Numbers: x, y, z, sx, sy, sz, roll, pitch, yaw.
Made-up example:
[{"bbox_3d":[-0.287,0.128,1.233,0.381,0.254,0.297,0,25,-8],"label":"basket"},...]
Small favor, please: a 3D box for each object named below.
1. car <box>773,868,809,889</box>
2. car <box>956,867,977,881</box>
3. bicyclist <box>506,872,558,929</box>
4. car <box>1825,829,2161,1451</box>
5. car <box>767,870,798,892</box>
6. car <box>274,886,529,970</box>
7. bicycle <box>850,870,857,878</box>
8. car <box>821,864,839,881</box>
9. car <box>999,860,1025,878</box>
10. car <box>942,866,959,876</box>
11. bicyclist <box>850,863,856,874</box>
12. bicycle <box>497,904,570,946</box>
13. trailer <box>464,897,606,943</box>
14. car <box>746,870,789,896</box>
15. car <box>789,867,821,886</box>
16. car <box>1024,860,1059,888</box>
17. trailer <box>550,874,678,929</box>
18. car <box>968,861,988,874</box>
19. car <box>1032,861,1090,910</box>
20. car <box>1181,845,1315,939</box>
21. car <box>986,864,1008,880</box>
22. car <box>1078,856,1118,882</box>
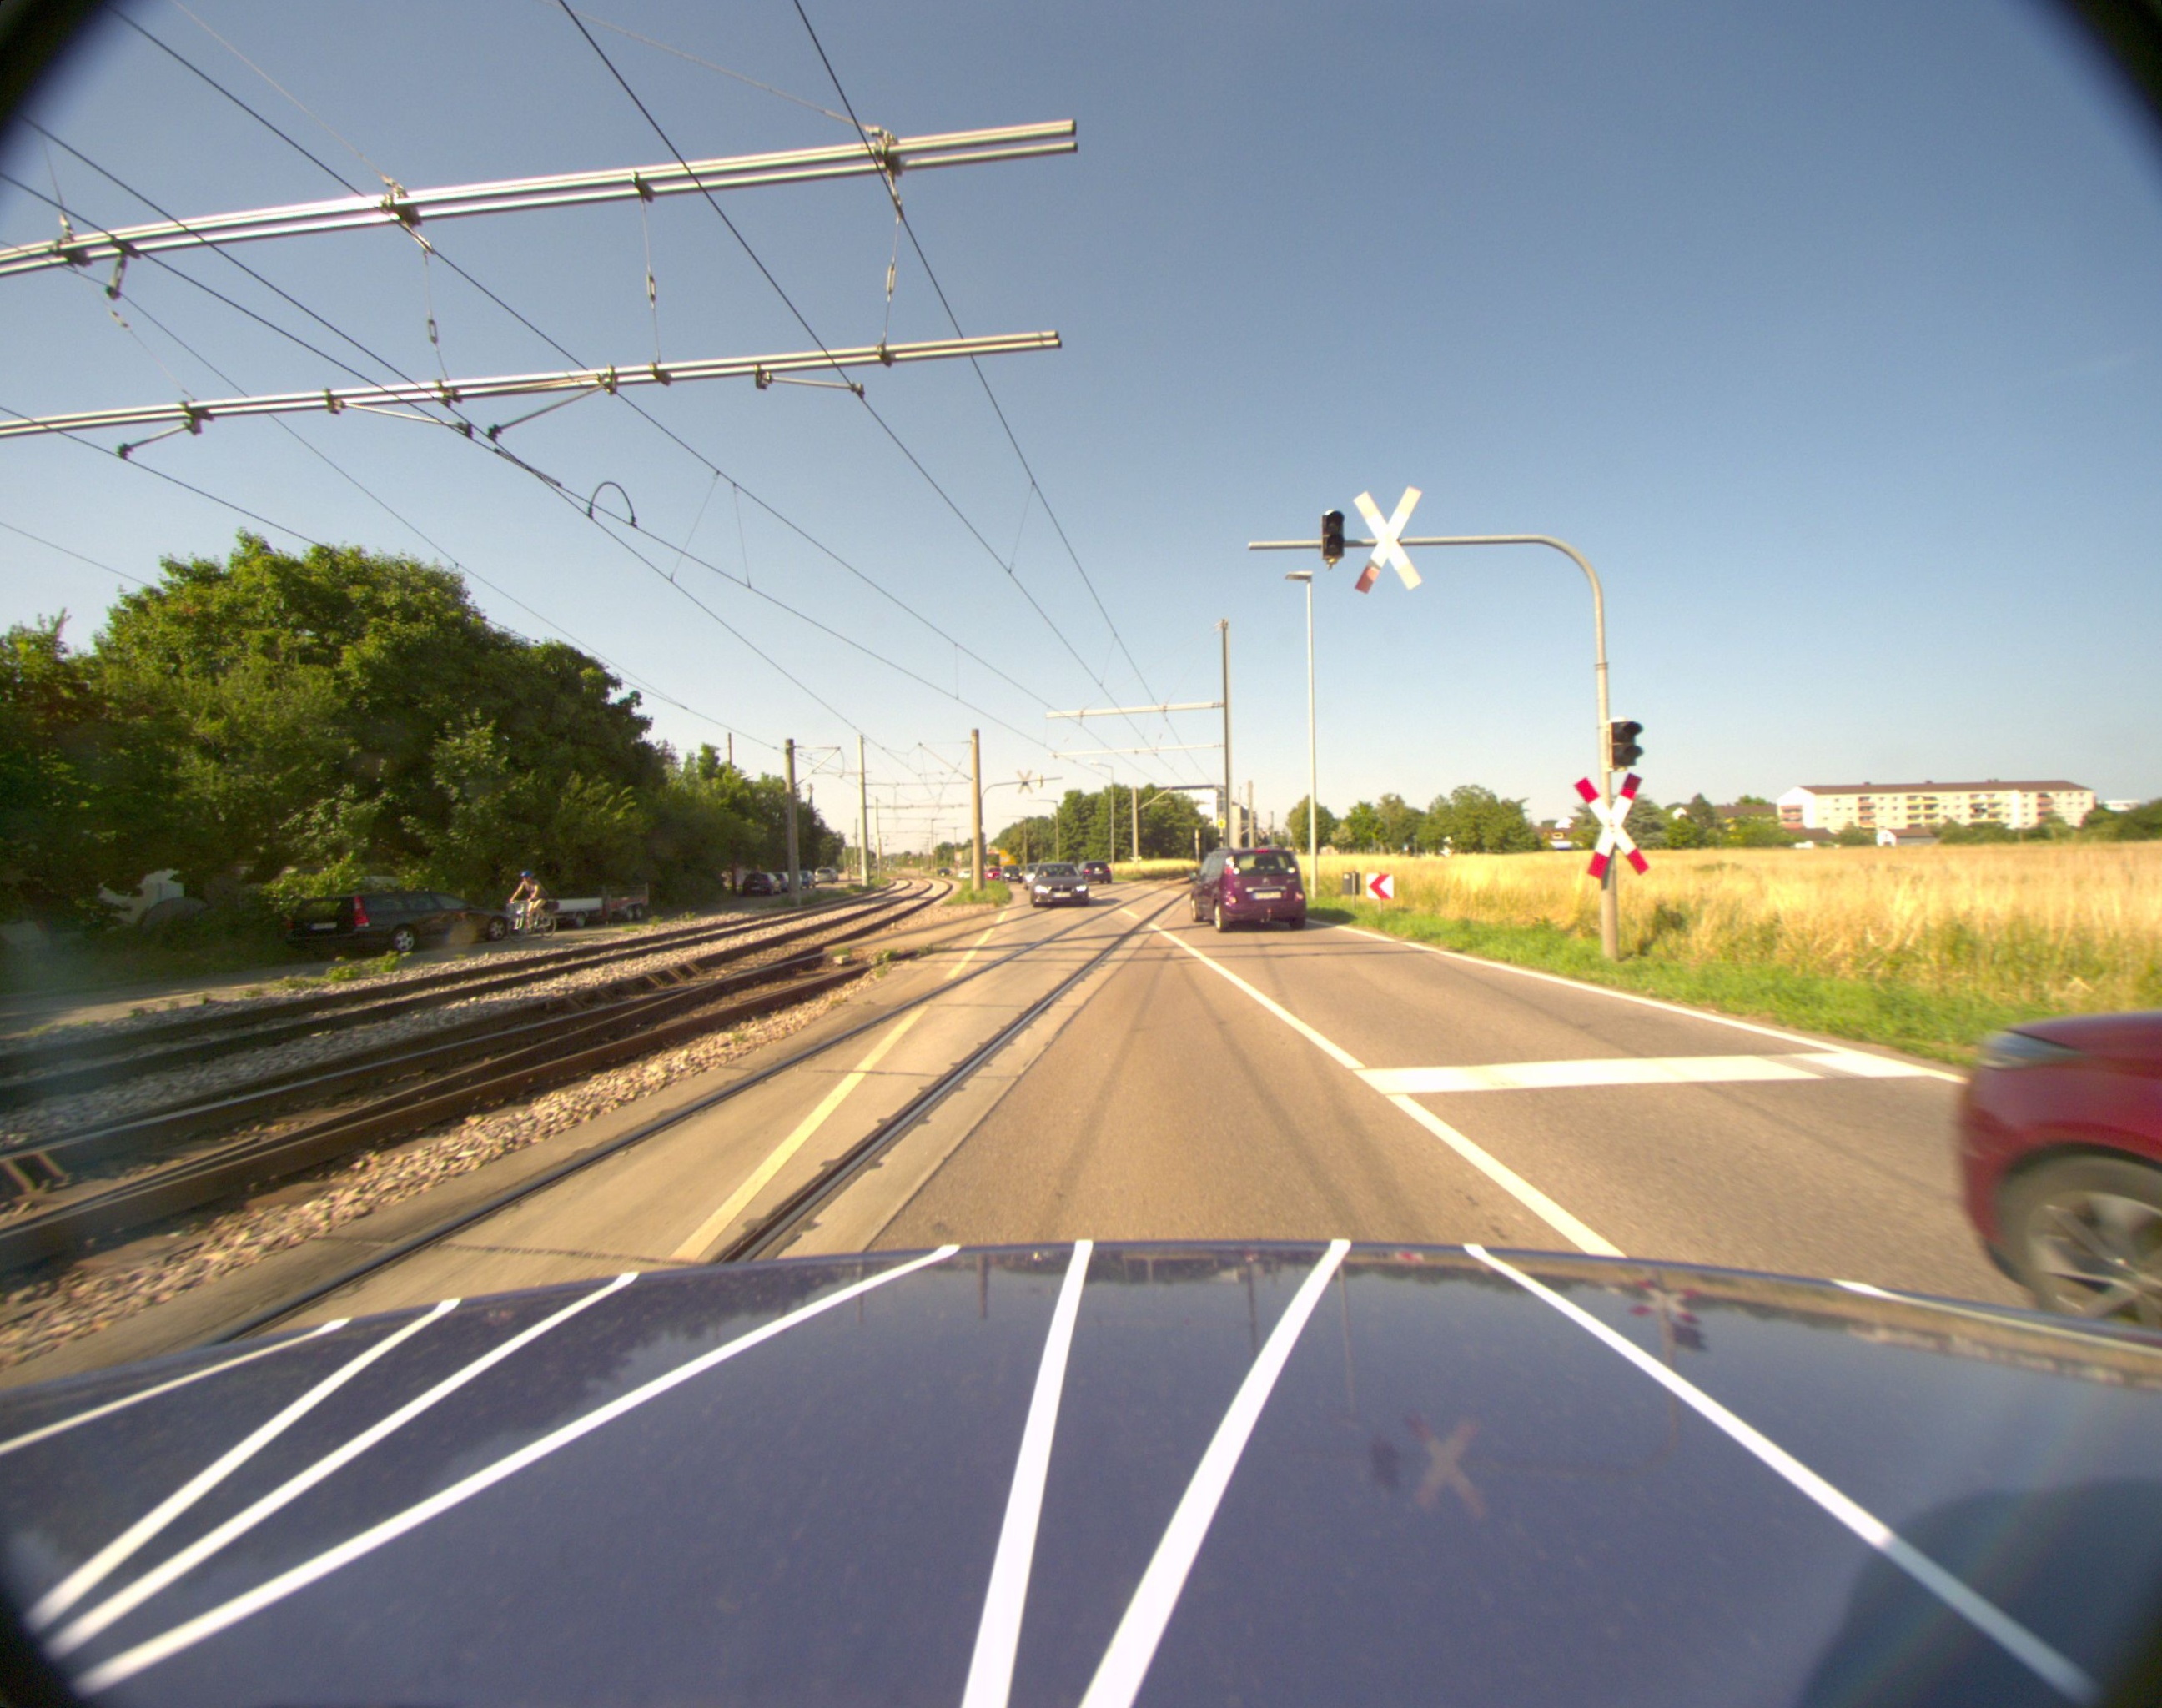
[{"bbox_3d":[-21.997,1.844,57.788,1.715,1.456,4.387,-1,-1,-9],"label":"car"},{"bbox_3d":[-15.292,2.656,101.391,1.971,1.609,4.301,-2,0,-19],"label":"car"},{"bbox_3d":[-14.318,1.201,19.825,0.631,1.414,0.962,-2,0,-4],"label":"bicyclist"},{"bbox_3d":[3.538,0.697,0.756,1.717,1.540,3.928,-2,0,0],"label":"car"},{"bbox_3d":[-20.782,1.869,52.990,1.490,1.393,4.145,-2,0,-14],"label":"car"},{"bbox_3d":[-16.045,1.657,18.398,1.703,1.448,4.880,-4,0,-1],"label":"car"},{"bbox_3d":[-25.354,2.245,84.589,0.645,0.904,1.811,-3,0,-16],"label":"bicycle"},{"bbox_3d":[-24.924,1.830,75.510,1.528,1.600,4.478,-1,-1,-16],"label":"car"},{"bbox_3d":[-5.848,1.269,64.131,1.849,1.347,4.151,-3,0,-9],"label":"car"},{"bbox_3d":[-20.272,2.630,118.139,1.839,1.504,4.147,-3,0,-19],"label":"car"},{"bbox_3d":[-25.362,1.623,84.541,0.641,1.226,0.790,-3,0,-16],"label":"bicyclist"},{"bbox_3d":[-14.296,1.829,19.906,0.644,0.904,1.843,-2,0,-4],"label":"bicycle"},{"bbox_3d":[-16.541,1.970,23.272,1.736,0.934,3.727,-5,0,-3],"label":"trailer"},{"bbox_3d":[-19.825,1.807,48.176,1.628,1.402,4.517,-3,0,-11],"label":"car"},{"bbox_3d":[-23.082,1.893,63.673,1.683,1.421,3.909,-3,0,-8],"label":"car"},{"bbox_3d":[-2.300,1.138,43.574,1.711,1.444,4.588,-3,-1,-6],"label":"car"},{"bbox_3d":[-16.614,1.626,27.316,2.032,1.587,4.258,-4,0,-4],"label":"trailer"},{"bbox_3d":[-12.541,1.618,92.603,1.609,1.504,4.262,-3,0,-17],"label":"car"},{"bbox_3d":[-0.608,0.983,25.333,1.747,1.444,3.947,-2,0,0],"label":"car"},{"bbox_3d":[3.377,0.713,16.258,1.711,1.655,4.589,-2,0,-1],"label":"car"},{"bbox_3d":[-9.074,1.898,81.514,1.849,1.587,3.734,-3,0,-13],"label":"car"},{"bbox_3d":[0.958,0.878,45.410,1.698,1.431,4.281,-2,0,-7],"label":"car"}]
